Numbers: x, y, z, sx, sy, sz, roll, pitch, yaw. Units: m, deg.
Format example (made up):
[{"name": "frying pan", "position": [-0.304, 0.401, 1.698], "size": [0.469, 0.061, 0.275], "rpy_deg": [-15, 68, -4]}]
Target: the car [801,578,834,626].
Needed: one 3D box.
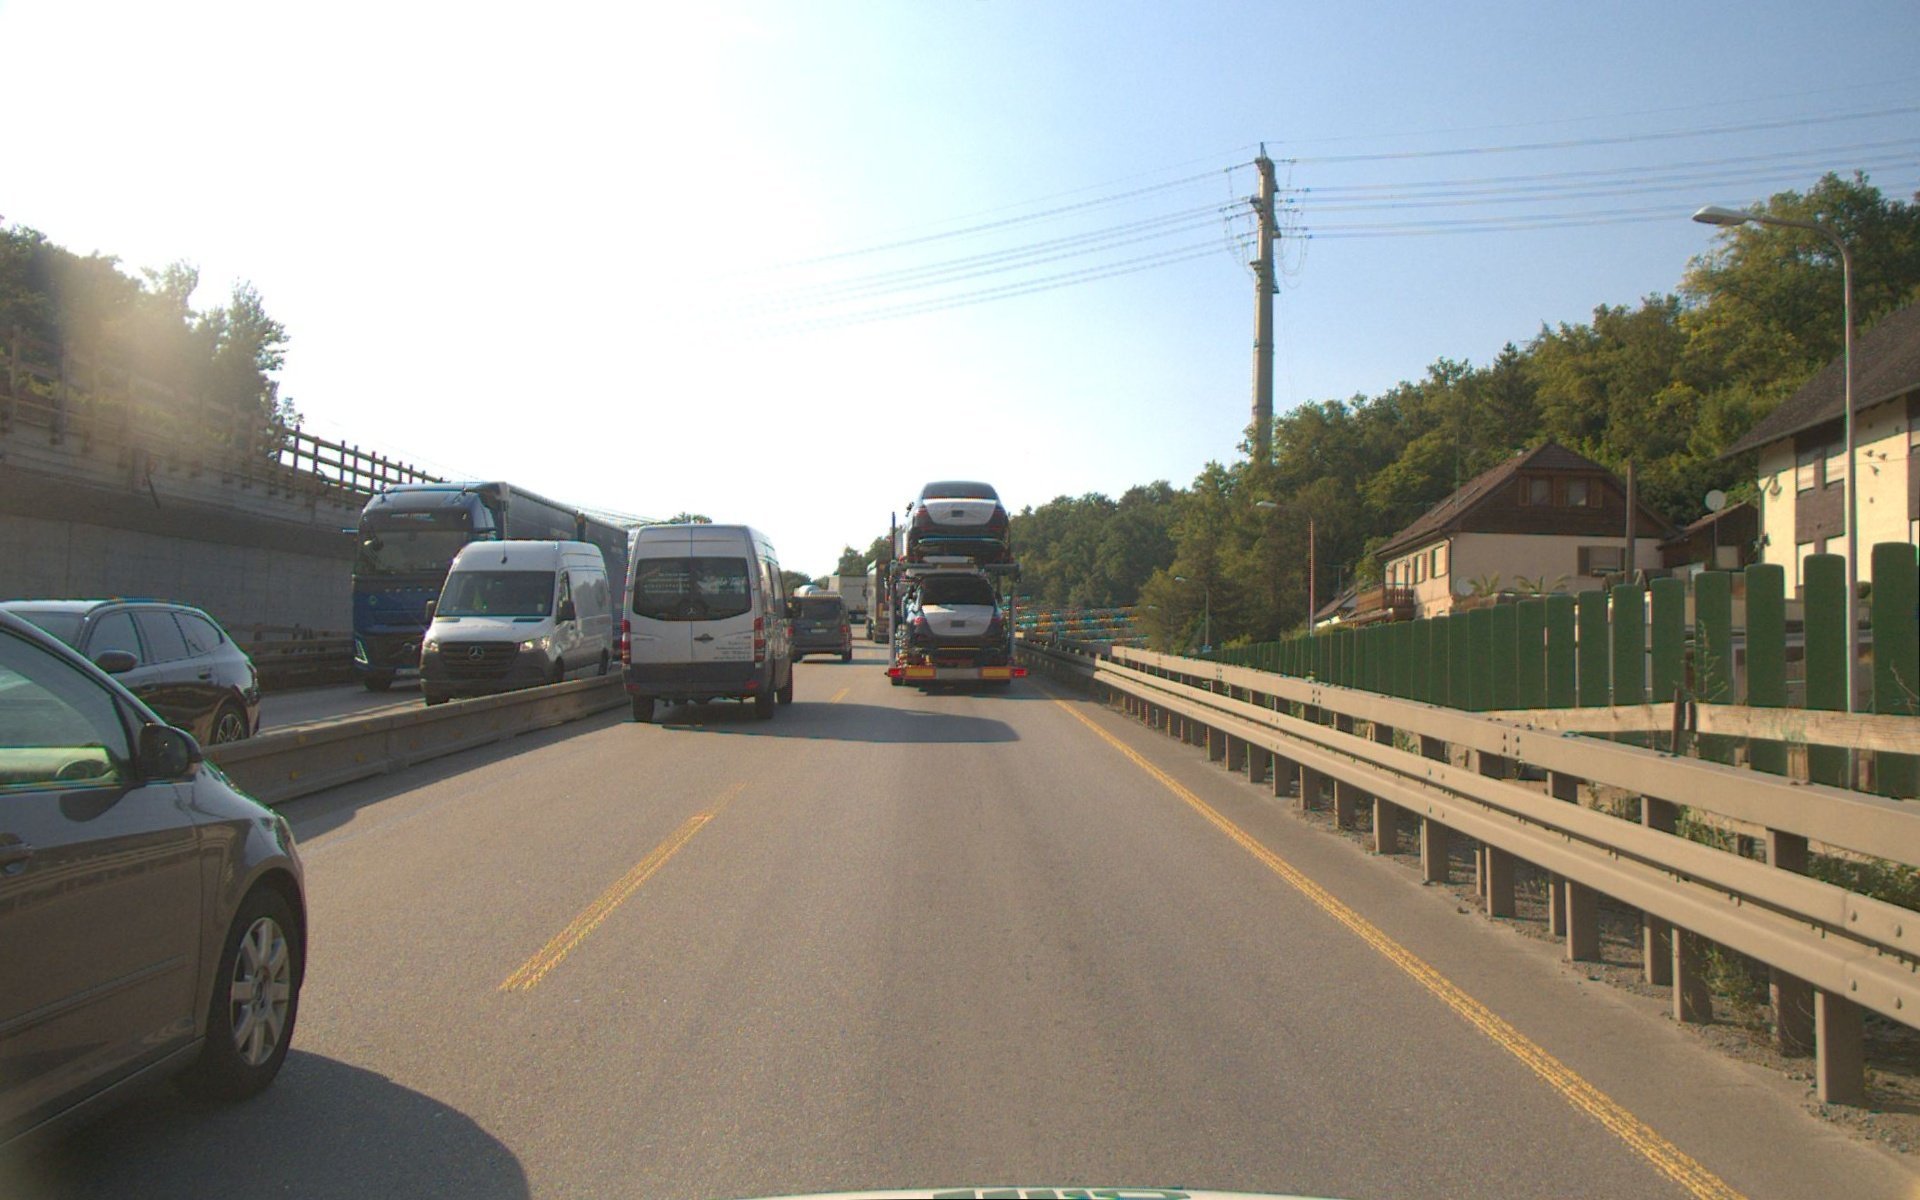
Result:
[{"name": "car", "position": [-16.092, 0.253, 187.056], "size": [3.377, 5.123, 9.644], "rpy_deg": [3, -1, -4]}]

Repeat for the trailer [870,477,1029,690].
[{"name": "trailer", "position": [-0.135, -0.096, 36.599], "size": [2.628, 3.596, 15.286], "rpy_deg": [3, -1, 0]}]

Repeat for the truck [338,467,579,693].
[{"name": "truck", "position": [-10.471, -0.334, 35.670], "size": [2.571, 4.185, 9.622], "rpy_deg": [-1, -1, -2]}]

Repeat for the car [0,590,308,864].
[{"name": "car", "position": [-6.601, 0.765, 12.037], "size": [1.800, 1.621, 4.866], "rpy_deg": [3, -2, -1]}]

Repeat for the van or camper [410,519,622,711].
[{"name": "van or camper", "position": [-7.038, 0.244, 26.920], "size": [1.953, 2.754, 5.955], "rpy_deg": [-1, -1, -1]}]

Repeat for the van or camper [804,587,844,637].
[{"name": "van or camper", "position": [-7.609, 0.700, 92.700], "size": [1.929, 2.637, 5.038], "rpy_deg": [3, -2, -3]}]

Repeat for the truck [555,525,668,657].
[{"name": "truck", "position": [-11.945, -0.219, 57.266], "size": [2.656, 4.164, 6.199], "rpy_deg": [3, -2, -3]}]

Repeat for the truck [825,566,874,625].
[{"name": "truck", "position": [-9.663, -0.303, 144.056], "size": [3.985, 4.761, 10.581], "rpy_deg": [2, -1, -4]}]

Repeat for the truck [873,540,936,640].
[{"name": "truck", "position": [-2.825, -0.422, 82.616], "size": [2.849, 4.687, 7.281], "rpy_deg": [2, -1, -3]}]

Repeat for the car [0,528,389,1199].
[{"name": "car", "position": [-2.809, 0.655, 3.643], "size": [1.646, 1.616, 4.271], "rpy_deg": [0, 0, -1]}]

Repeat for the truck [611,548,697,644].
[{"name": "truck", "position": [-14.503, -0.143, 78.962], "size": [2.923, 4.226, 7.387], "rpy_deg": [3, -1, -3]}]

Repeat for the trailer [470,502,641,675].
[{"name": "trailer", "position": [-10.824, -0.278, 45.281], "size": [2.553, 4.184, 9.623], "rpy_deg": [-1, 0, -2]}]

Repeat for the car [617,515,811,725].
[{"name": "car", "position": [-3.461, 0.291, 24.367], "size": [1.953, 2.694, 5.530], "rpy_deg": [1, -1, 0]}]

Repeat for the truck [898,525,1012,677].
[{"name": "truck", "position": [-0.092, 0.116, 44.155], "size": [2.628, 3.597, 7.192], "rpy_deg": [3, -1, 0]}]

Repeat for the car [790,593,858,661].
[{"name": "car", "position": [-4.176, 0.856, 51.137], "size": [1.772, 1.937, 3.998], "rpy_deg": [3, -2, -1]}]
